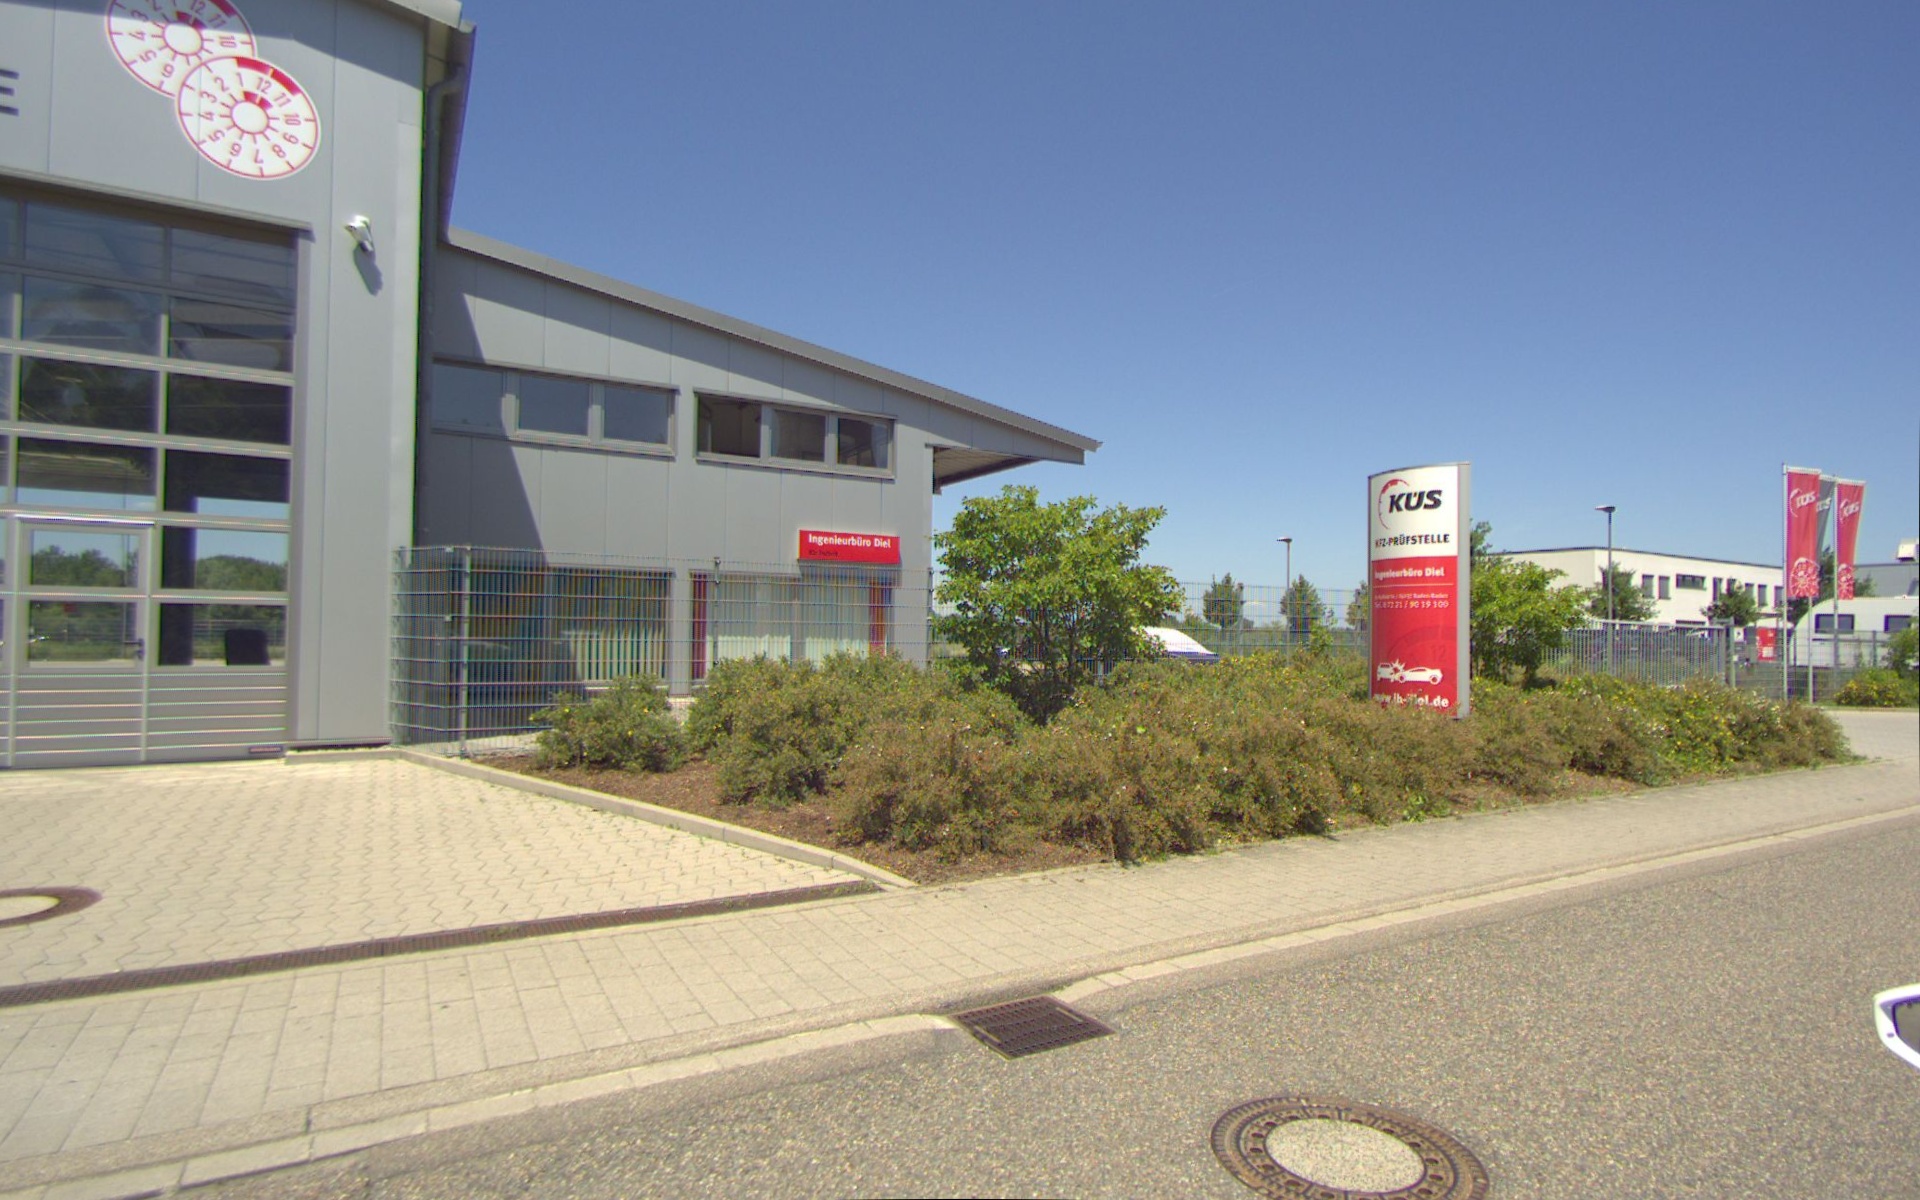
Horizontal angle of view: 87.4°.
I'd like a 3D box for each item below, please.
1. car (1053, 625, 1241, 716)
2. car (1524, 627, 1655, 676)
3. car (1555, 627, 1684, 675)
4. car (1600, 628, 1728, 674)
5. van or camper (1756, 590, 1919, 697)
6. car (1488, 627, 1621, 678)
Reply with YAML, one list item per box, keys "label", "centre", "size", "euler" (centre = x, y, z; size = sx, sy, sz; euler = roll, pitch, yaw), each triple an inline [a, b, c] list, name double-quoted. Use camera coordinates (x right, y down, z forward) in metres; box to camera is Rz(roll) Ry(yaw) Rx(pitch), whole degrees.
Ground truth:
- label: "car"
  centre: [3.485, 1.275, 19.224]
  size: [1.542, 1.572, 3.478]
  euler: [2, -2, -34]
- label: "car"
  centre: [24.746, 2.009, 39.620]
  size: [1.894, 1.839, 3.968]
  euler: [1, -2, -30]
- label: "car"
  centre: [26.709, 2.057, 40.819]
  size: [1.894, 1.839, 3.968]
  euler: [1, -2, -30]
- label: "car"
  centre: [29.470, 2.107, 42.161]
  size: [1.894, 1.839, 3.968]
  euler: [1, -2, -30]
- label: "van or camper"
  centre: [28.523, 1.278, 29.672]
  size: [2.758, 3.077, 7.349]
  euler: [1, -2, -30]
- label: "car"
  centre: [22.648, 1.967, 38.418]
  size: [1.894, 1.839, 3.968]
  euler: [1, -2, -30]
